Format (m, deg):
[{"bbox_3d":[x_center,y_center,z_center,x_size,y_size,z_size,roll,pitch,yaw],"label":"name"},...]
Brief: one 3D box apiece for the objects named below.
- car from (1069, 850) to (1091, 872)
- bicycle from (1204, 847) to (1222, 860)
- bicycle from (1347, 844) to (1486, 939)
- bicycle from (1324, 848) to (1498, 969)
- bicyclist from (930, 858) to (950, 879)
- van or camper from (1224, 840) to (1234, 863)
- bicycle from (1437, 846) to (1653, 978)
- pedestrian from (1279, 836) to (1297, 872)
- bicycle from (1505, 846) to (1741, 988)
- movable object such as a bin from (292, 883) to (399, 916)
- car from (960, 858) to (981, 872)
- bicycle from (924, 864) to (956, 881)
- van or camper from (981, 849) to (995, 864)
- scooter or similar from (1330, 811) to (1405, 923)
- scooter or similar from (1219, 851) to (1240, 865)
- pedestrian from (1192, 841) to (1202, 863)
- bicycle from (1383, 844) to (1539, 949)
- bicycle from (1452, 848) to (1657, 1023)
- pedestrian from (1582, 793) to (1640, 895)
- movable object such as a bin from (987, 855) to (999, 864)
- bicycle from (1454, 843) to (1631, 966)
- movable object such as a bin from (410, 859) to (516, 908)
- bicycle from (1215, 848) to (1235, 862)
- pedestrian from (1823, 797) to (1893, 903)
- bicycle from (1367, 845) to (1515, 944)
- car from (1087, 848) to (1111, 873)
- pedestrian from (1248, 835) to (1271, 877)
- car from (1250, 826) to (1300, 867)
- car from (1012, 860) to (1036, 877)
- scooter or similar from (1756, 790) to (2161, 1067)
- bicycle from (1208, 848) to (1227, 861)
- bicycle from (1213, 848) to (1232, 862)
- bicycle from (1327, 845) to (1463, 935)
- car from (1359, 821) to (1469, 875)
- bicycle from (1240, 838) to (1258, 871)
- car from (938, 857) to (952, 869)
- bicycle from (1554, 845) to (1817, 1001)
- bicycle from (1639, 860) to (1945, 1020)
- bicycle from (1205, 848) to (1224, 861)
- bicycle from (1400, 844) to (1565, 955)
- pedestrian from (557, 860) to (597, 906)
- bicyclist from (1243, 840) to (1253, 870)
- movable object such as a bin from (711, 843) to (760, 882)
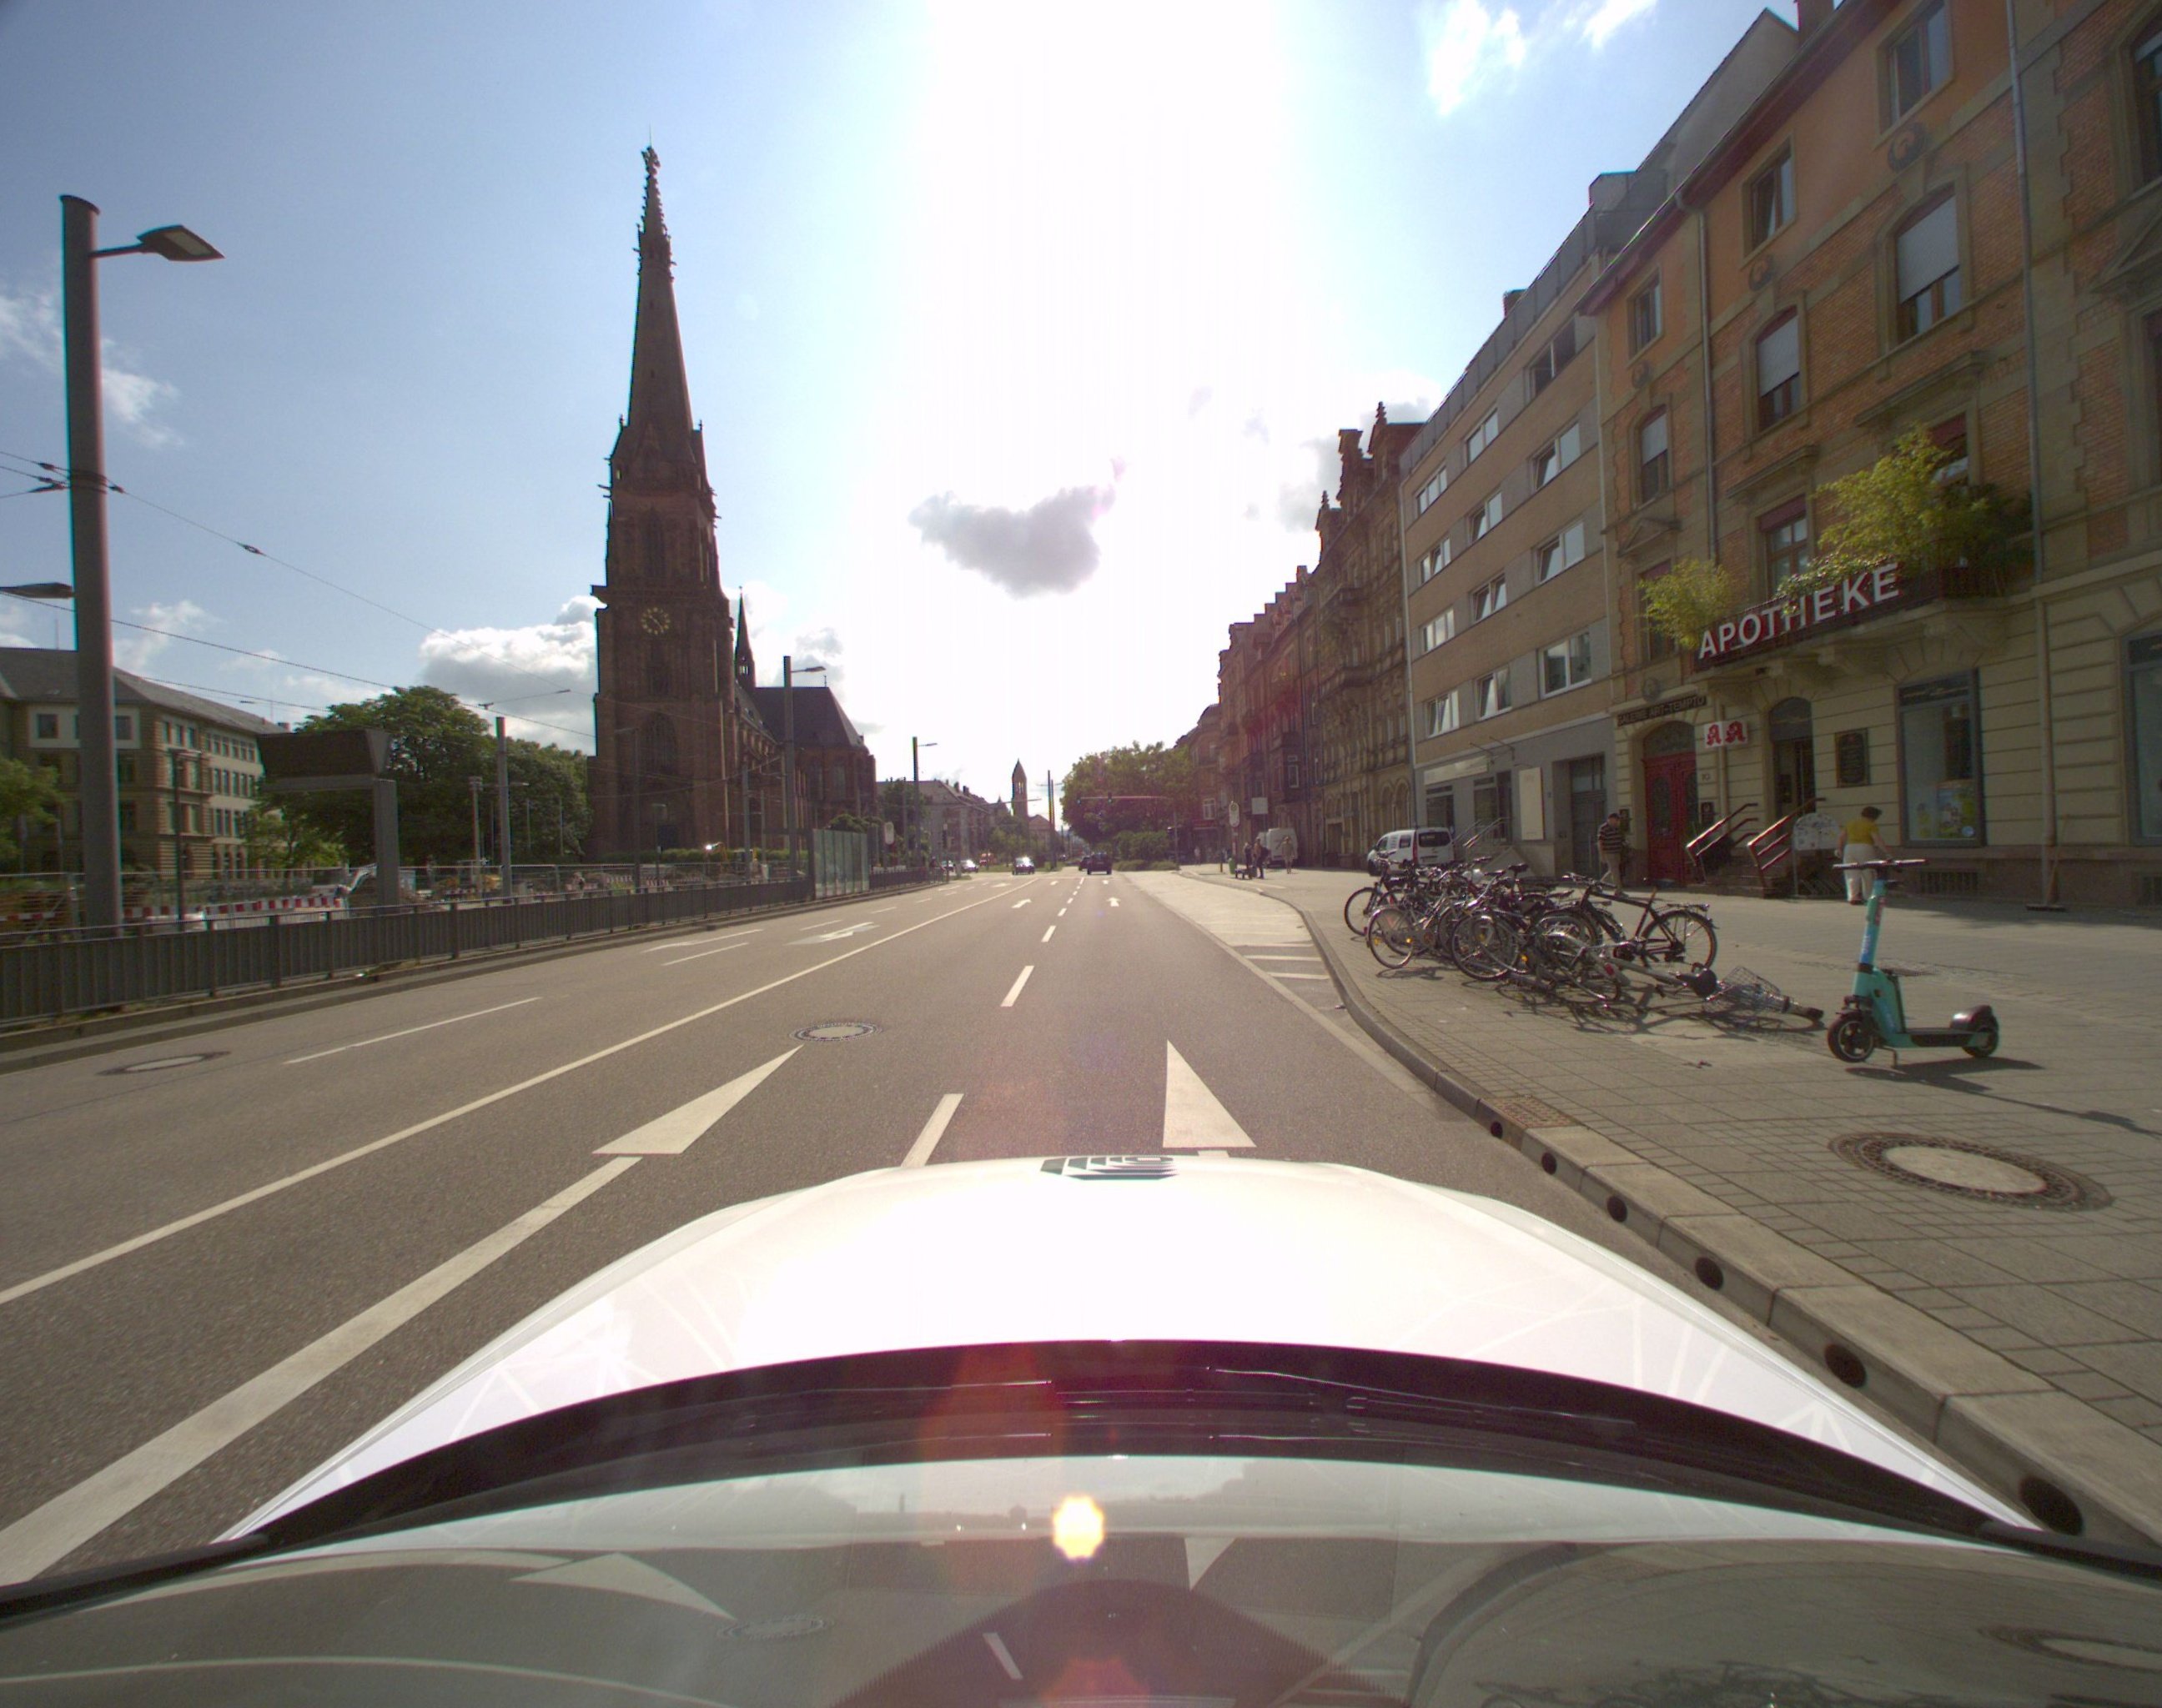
[{"bbox_3d":[-0.123,0.713,79.973,1.988,2.013,3.997,-3,0,-2],"label":"car"},{"bbox_3d":[13.490,-0.043,83.054,1.761,1.267,0.467,-2,2,4],"label":"bicycle"},{"bbox_3d":[4.848,0.518,11.764,1.925,1.237,0.439,-3,2,-12],"label":"bicycle"},{"bbox_3d":[3.789,0.594,9.343,1.926,1.237,0.439,-3,2,-13],"label":"bicycle"},{"bbox_3d":[-10.206,1.025,58.995,1.082,1.436,0.827,-3,0,11],"label":"bicyclist"},{"bbox_3d":[13.210,-0.191,72.530,0.663,2.013,0.638,-3,0,1],"label":"van or camper"},{"bbox_3d":[4.720,0.580,8.335,1.916,1.237,0.441,-2,2,2],"label":"bicycle"},{"bbox_3d":[11.006,0.007,43.293,0.662,1.836,0.693,-3,0,-5],"label":"pedestrian"},{"bbox_3d":[5.135,0.589,7.767,1.916,1.237,0.441,-2,2,2],"label":"bicycle"},{"bbox_3d":[-40.326,2.443,44.833,1.995,1.502,5.134,-2,0,-12],"label":"movable object such as a bin"},{"bbox_3d":[-12.930,1.279,95.618,1.812,1.552,4.557,-3,0,-2],"label":"car"},{"bbox_3d":[-10.191,1.339,58.939,2.005,1.126,0.934,-3,0,11],"label":"bicycle"},{"bbox_3d":[-19.070,0.509,166.621,2.250,2.737,6.196,-3,0,-3],"label":"van or camper"},{"bbox_3d":[4.831,0.209,13.811,0.397,1.786,1.531,-3,0,-12],"label":"scooter or similar"},{"bbox_3d":[13.722,0.368,75.182,1.763,1.185,0.466,-4,-1,1],"label":"scooter or similar"},{"bbox_3d":[10.837,-0.159,76.090,0.765,2.013,0.715,-3,0,1],"label":"pedestrian"},{"bbox_3d":[4.969,0.532,10.649,1.924,1.237,0.440,-3,2,-10],"label":"bicycle"},{"bbox_3d":[3.979,0.603,7.039,0.439,1.237,1.926,-2,2,-7],"label":"bicycle"},{"bbox_3d":[11.341,-0.218,17.445,0.718,2.099,0.787,-2,2,1],"label":"pedestrian"},{"bbox_3d":[-18.799,1.134,173.349,2.201,1.693,3.714,-2,2,-2],"label":"movable object such as a bin"},{"bbox_3d":[5.194,0.539,9.163,1.926,1.237,0.439,-3,2,-13],"label":"bicycle"},{"bbox_3d":[-40.344,1.879,53.280,5.132,2.911,1.996,-2,0,-7],"label":"movable object such as a bin"},{"bbox_3d":[13.779,0.080,77.852,1.761,1.267,0.467,-2,2,4],"label":"bicycle"},{"bbox_3d":[12.957,-0.074,13.592,0.576,1.698,0.612,-2,2,1],"label":"pedestrian"},{"bbox_3d":[4.963,0.534,11.237,1.924,1.237,0.440,-3,2,-10],"label":"bicycle"},{"bbox_3d":[1.366,0.497,62.921,1.684,1.711,3.608,-2,2,-1],"label":"car"},{"bbox_3d":[8.147,0.090,37.218,0.664,1.903,0.690,-3,0,-18],"label":"pedestrian"},{"bbox_3d":[12.813,-0.472,54.241,1.986,2.525,5.890,-2,0,1],"label":"car"},{"bbox_3d":[-5.057,1.266,72.738,1.910,1.417,3.739,-3,0,-2],"label":"car"},{"bbox_3d":[5.618,0.421,4.966,2.312,1.545,0.699,-2,2,6],"label":"scooter or similar"},{"bbox_3d":[13.532,0.060,80.689,1.761,1.267,0.467,-2,2,4],"label":"bicycle"},{"bbox_3d":[13.612,0.054,78.438,1.738,1.267,0.467,-2,2,4],"label":"bicycle"},{"bbox_3d":[4.755,0.522,12.331,1.979,1.237,0.439,-3,2,-11],"label":"bicycle"},{"bbox_3d":[12.866,-0.197,31.838,1.990,1.862,4.745,-2,-1,-4],"label":"car"},{"bbox_3d":[10.140,0.058,49.200,0.681,1.925,1.590,-3,0,2],"label":"bicycle"},{"bbox_3d":[-18.346,1.255,109.778,1.799,1.552,4.281,-2,0,-9],"label":"car"},{"bbox_3d":[5.223,0.584,7.088,1.916,1.237,0.441,-2,2,2],"label":"bicycle"},{"bbox_3d":[5.409,0.647,6.247,1.916,1.103,0.441,-2,2,2],"label":"bicycle"},{"bbox_3d":[13.499,0.033,82.272,1.761,1.267,0.467,-2,2,4],"label":"bicycle"},{"bbox_3d":[4.969,0.538,10.084,1.924,1.237,0.440,-3,2,-10],"label":"bicycle"},{"bbox_3d":[-22.974,1.319,37.125,1.061,2.013,1.052,-3,0,4],"label":"pedestrian"},{"bbox_3d":[10.091,0.048,49.173,0.426,1.718,0.828,-2,2,2],"label":"bicyclist"},{"bbox_3d":[-29.468,0.678,69.557,1.984,3.105,4.007,-2,2,5],"label":"movable object such as a bin"}]
